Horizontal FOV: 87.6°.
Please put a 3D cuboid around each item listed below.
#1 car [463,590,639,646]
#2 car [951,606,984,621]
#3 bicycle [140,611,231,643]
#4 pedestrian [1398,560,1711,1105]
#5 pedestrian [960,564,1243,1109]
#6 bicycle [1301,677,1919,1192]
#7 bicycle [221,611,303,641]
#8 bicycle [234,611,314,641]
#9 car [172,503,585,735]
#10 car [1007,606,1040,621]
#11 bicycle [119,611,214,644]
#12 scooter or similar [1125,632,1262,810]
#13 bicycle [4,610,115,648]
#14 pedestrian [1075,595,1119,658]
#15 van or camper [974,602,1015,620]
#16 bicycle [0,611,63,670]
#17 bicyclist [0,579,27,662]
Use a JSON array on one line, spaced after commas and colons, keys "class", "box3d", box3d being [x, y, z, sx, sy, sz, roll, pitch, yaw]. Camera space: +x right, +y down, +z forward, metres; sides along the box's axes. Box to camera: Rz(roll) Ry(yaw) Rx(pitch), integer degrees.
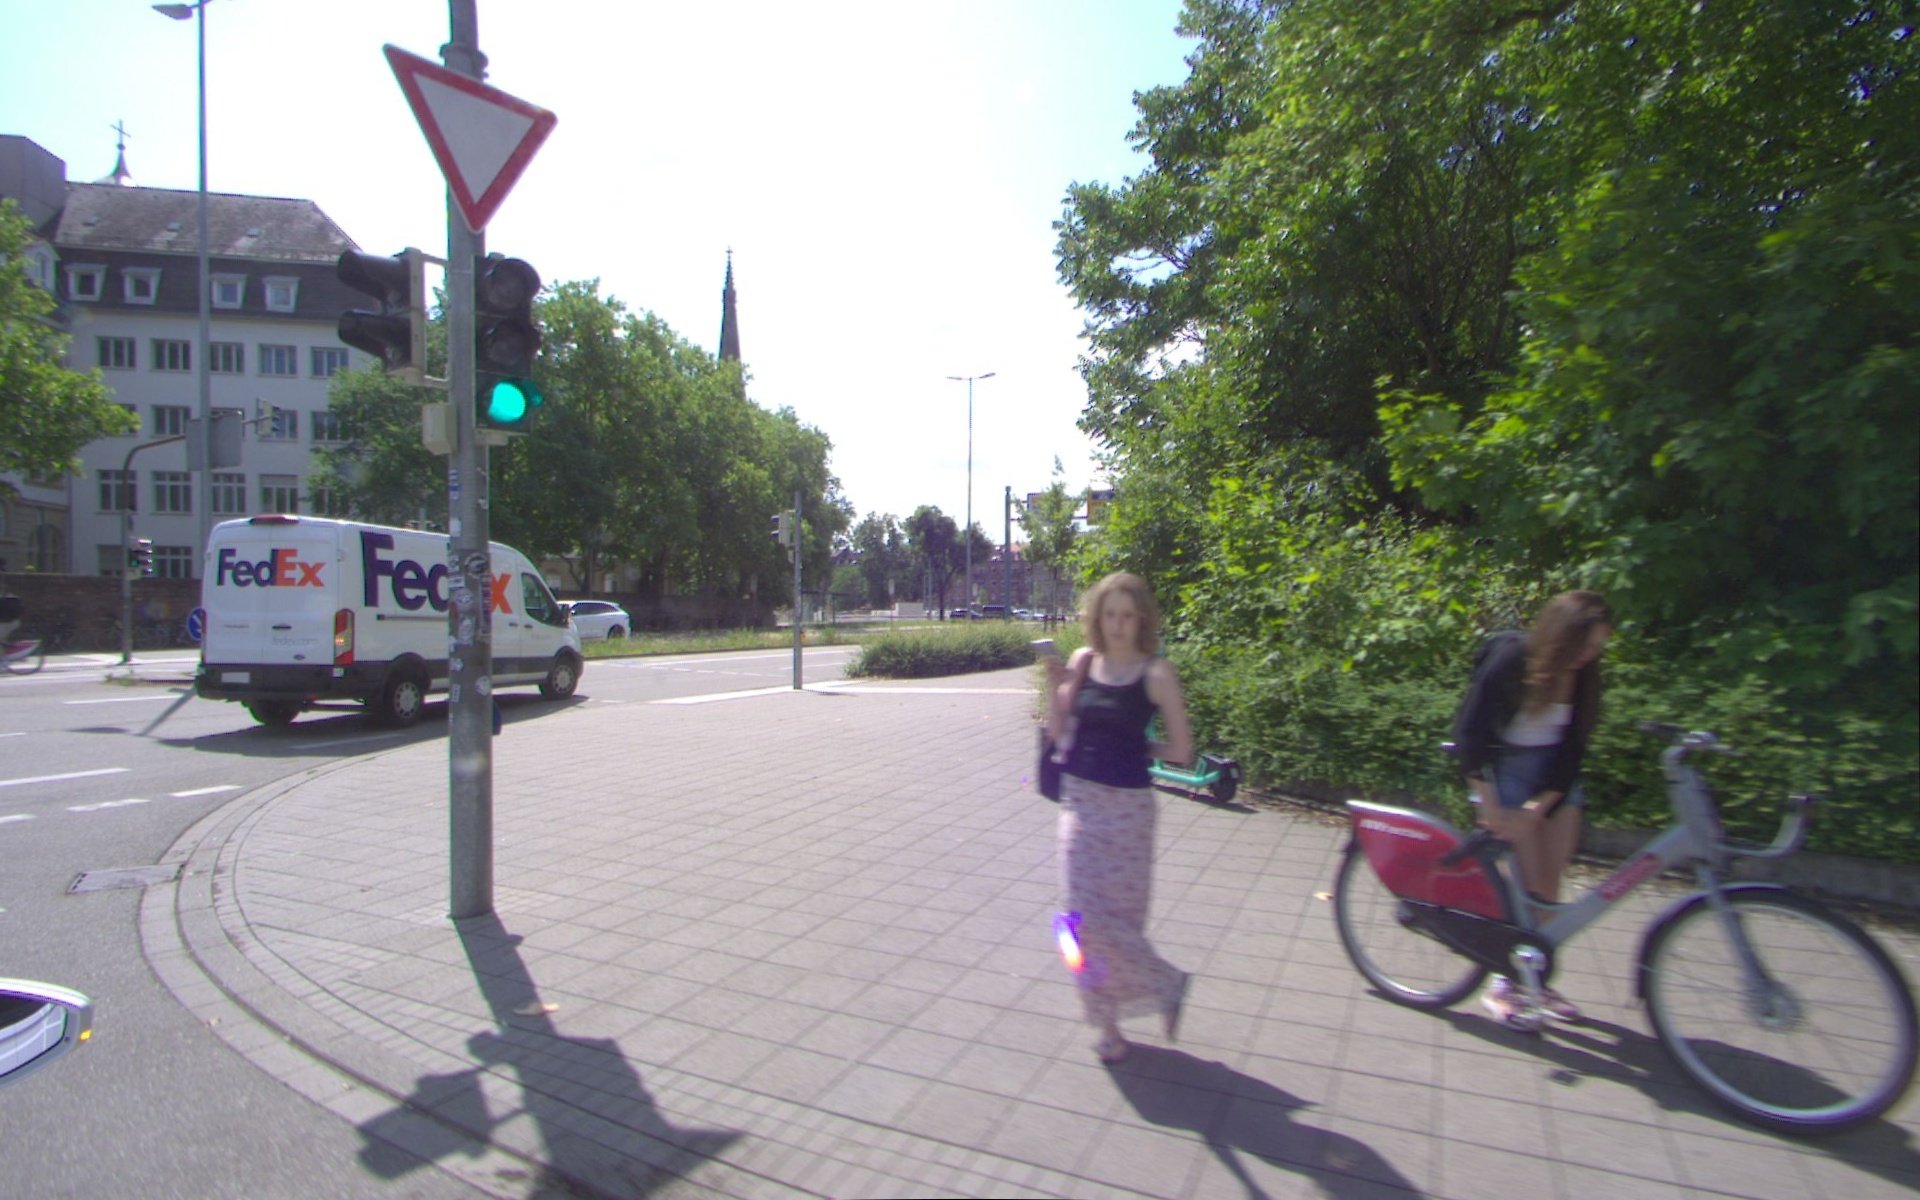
[{"class": "car", "box3d": [-13.161, 0.561, 32.616, 1.969, 1.663, 5.284, 0, 0, 28]}, {"class": "car", "box3d": [0.955, 1.698, 126.146, 3.803, 1.778, 1.570, 0, -1, 15]}, {"class": "bicycle", "box3d": [-25.294, 0.872, 32.783, 0.684, 1.007, 2.384, 0, 0, 18]}, {"class": "pedestrian", "box3d": [2.035, 0.677, 3.435, 0.718, 1.597, 0.727, -3, 3, -40]}, {"class": "pedestrian", "box3d": [0.503, 0.694, 3.425, 0.763, 1.597, 0.730, 0, 1, 27]}, {"class": "bicycle", "box3d": [2.072, 0.900, 3.328, 0.587, 1.142, 1.728, -3, 2, -39]}, {"class": "bicycle", "box3d": [-24.531, 0.886, 35.255, 0.740, 1.007, 2.384, 0, 0, 18]}, {"class": "bicycle", "box3d": [-24.408, 0.905, 35.687, 0.712, 1.007, 2.384, 0, 0, 18]}, {"class": "car", "box3d": [-7.676, 0.234, 14.153, 2.061, 2.600, 5.601, 1, 0, 7]}, {"class": "car", "box3d": [7.700, 1.613, 121.246, 3.803, 1.778, 1.570, 0, -1, 15]}, {"class": "bicycle", "box3d": [-25.480, 0.873, 32.207, 0.740, 1.007, 2.384, 0, 0, 18]}, {"class": "scooter or similar", "box3d": [1.669, 0.828, 7.288, 0.282, 1.162, 1.173, 0, 0, -26]}, {"class": "bicycle", "box3d": [-26.421, 0.833, 29.439, 0.740, 1.072, 2.384, 0, 0, 18]}, {"class": "pedestrian", "box3d": [3.907, 0.738, 28.445, 0.980, 1.749, 1.206, 0, 0, 22]}, {"class": "van or camper", "box3d": [4.126, 1.349, 118.629, 4.575, 2.122, 1.570, 0, -1, 15]}, {"class": "bicycle", "box3d": [-20.038, 0.842, 20.830, 0.674, 1.200, 1.973, 1, 0, 40]}, {"class": "bicyclist", "box3d": [-20.046, 0.420, 20.803, 0.676, 1.694, 0.883, 1, 1, 40]}]
